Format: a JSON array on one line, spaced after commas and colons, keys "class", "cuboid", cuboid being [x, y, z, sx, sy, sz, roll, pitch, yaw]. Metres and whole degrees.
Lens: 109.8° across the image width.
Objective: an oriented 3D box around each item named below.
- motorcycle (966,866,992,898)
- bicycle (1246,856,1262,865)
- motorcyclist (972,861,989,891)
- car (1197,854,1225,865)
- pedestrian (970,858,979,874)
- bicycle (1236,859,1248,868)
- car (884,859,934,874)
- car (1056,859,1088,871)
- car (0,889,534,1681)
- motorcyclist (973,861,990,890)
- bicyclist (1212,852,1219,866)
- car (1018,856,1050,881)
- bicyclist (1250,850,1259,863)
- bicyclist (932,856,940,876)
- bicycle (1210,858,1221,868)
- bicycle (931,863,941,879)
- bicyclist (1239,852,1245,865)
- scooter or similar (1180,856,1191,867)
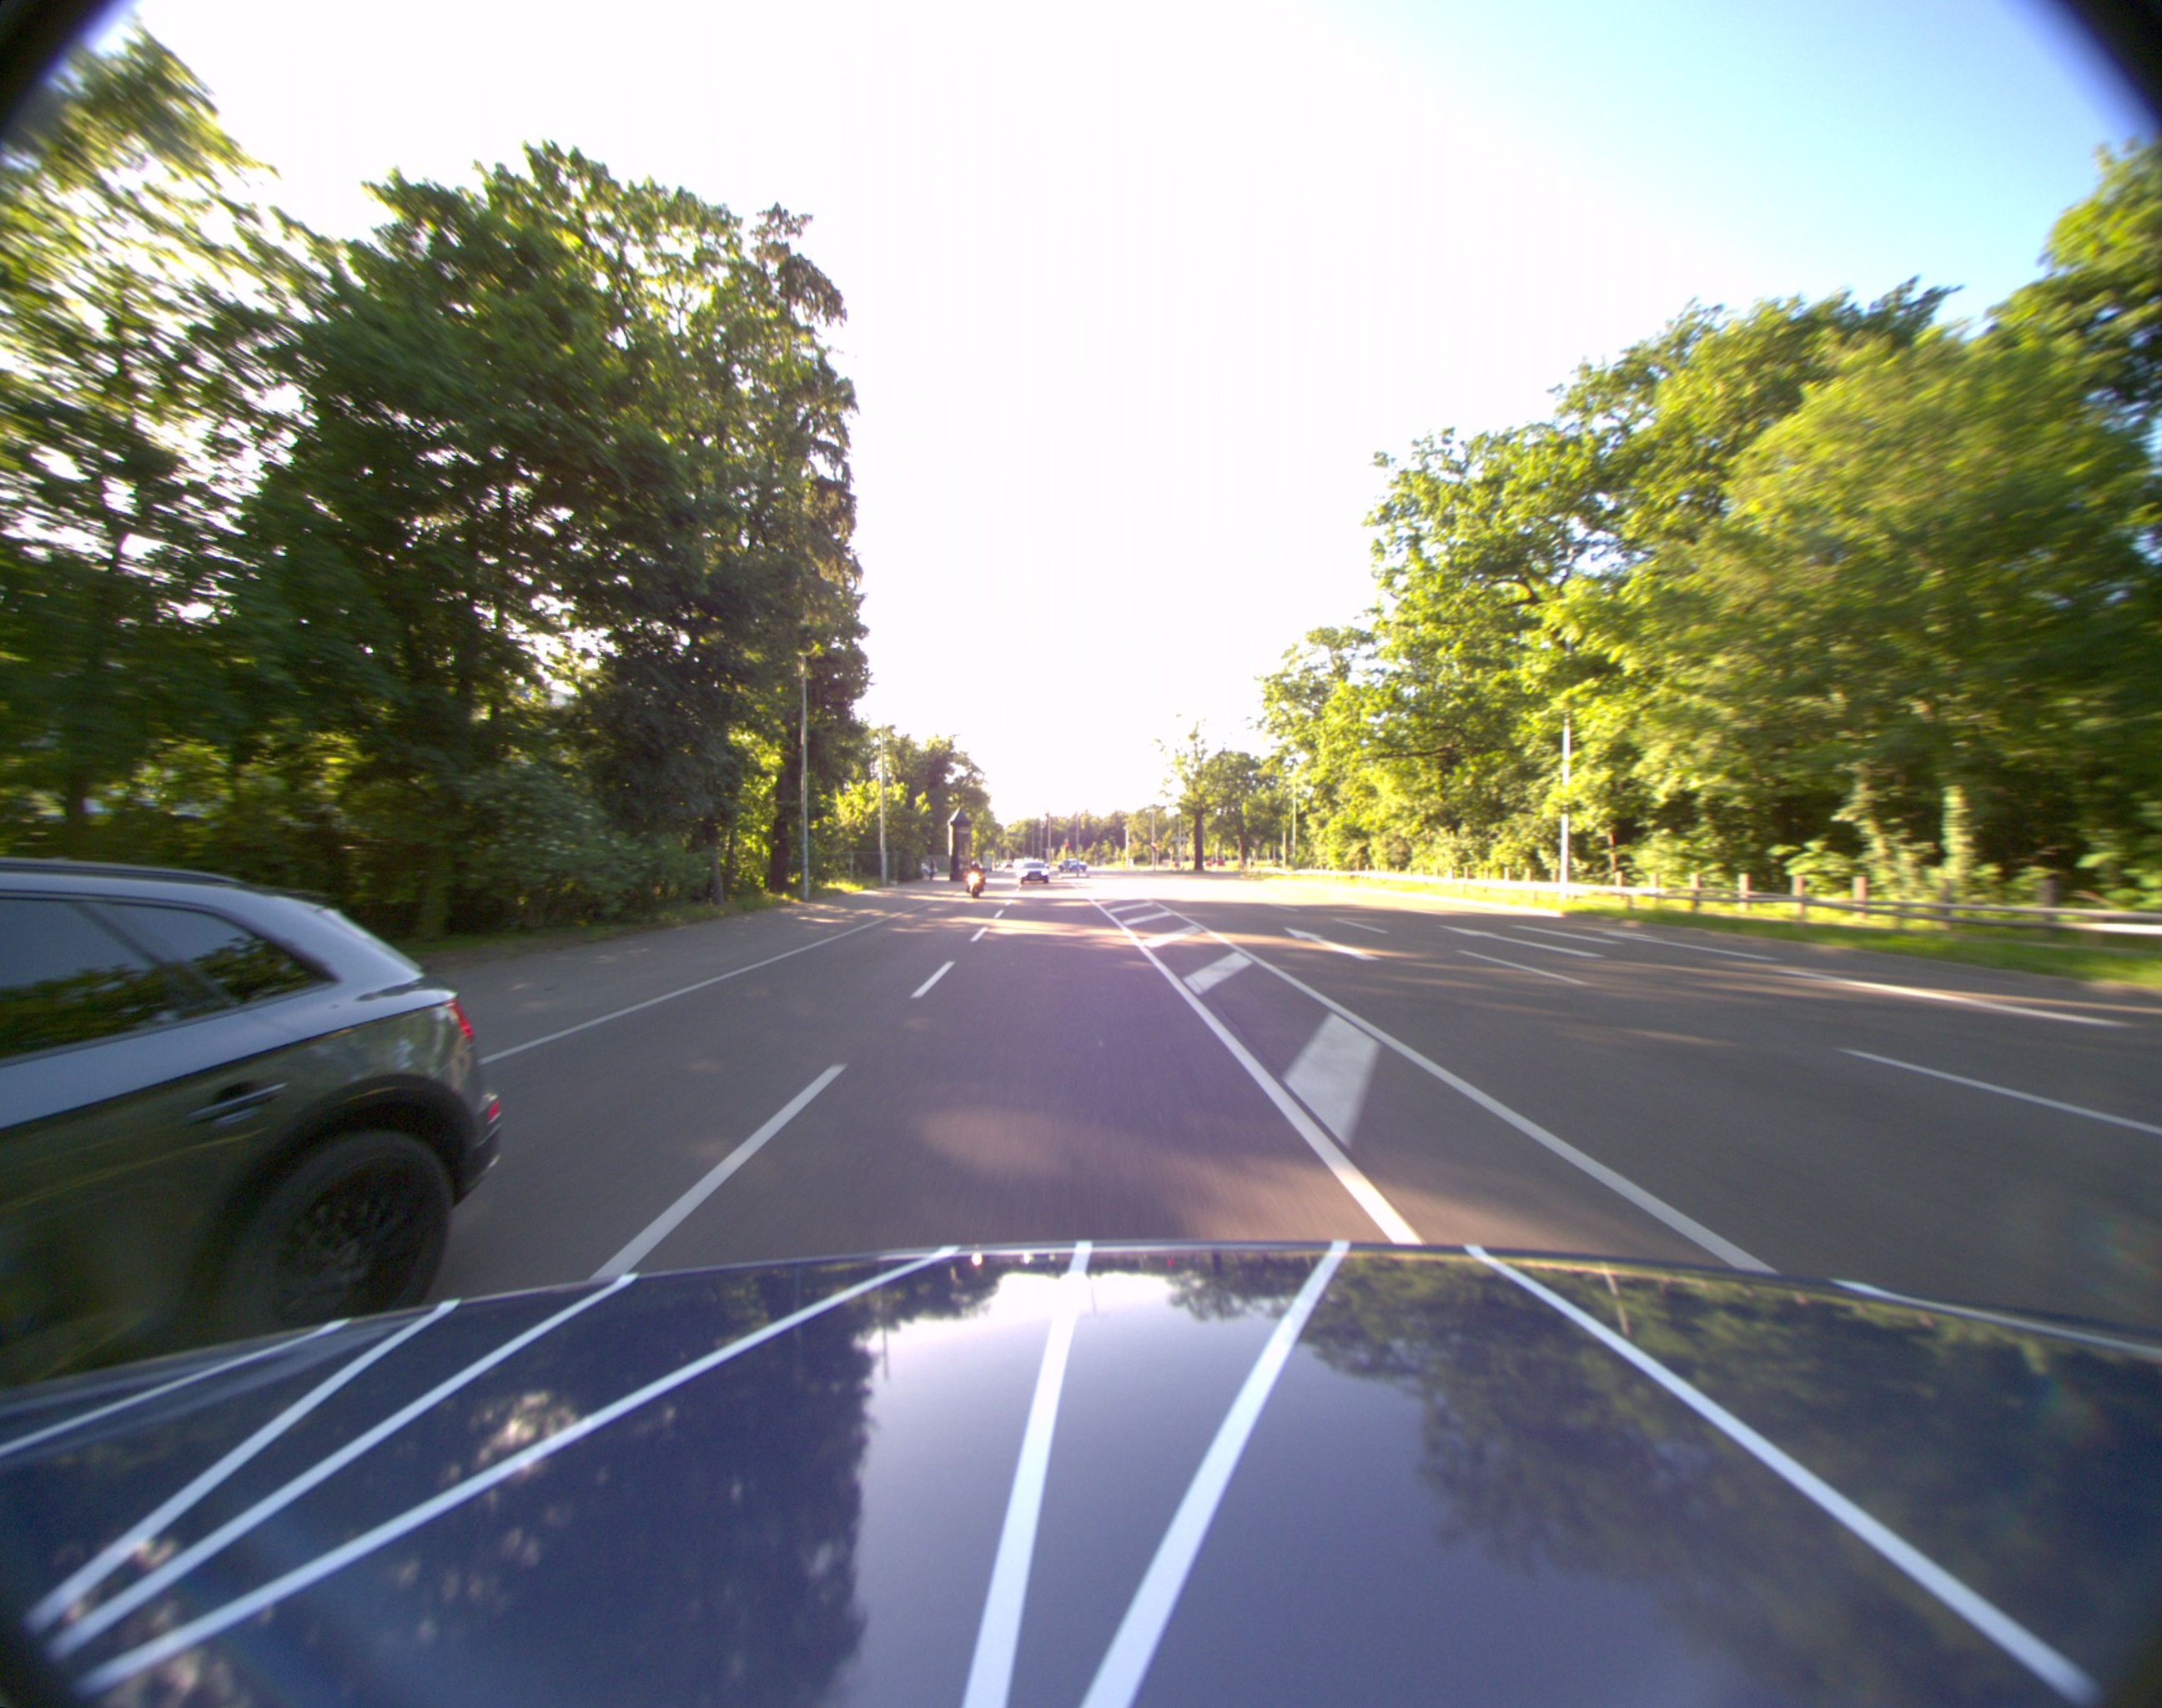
[{"class": "motorcycle", "cuboid": [-4.394, 1.188, 32.838, 0.916, 1.243, 2.961, -3, 0, -5]}, {"class": "bicycle", "cuboid": [19.674, 0.761, 86.449, 1.586, 0.971, 0.786, -1, 1, 40]}, {"class": "motorcyclist", "cuboid": [-4.327, 0.953, 32.723, 0.671, 1.256, 0.825, -2, 1, -5]}, {"class": "car", "cuboid": [19.938, 0.867, 116.242, 3.992, 1.501, 1.658, -2, 0, 16]}, {"class": "pedestrian", "cuboid": [-11.075, 1.229, 78.924, 0.627, 1.678, 0.883, -2, 1, 5]}, {"class": "bicycle", "cuboid": [17.849, 1.016, 84.220, 1.353, 0.971, 0.523, -2, 1, 11]}, {"class": "car", "cuboid": [-16.579, 1.172, 73.264, 4.382, 1.370, 1.820, 1, 1, 4]}, {"class": "car", "cuboid": [-1.238, 1.457, 99.809, 1.843, 1.504, 4.288, -2, 0, -42]}, {"class": "car", "cuboid": [-3.239, 0.972, 0.881, 1.898, 1.596, 4.544, -2, 0, -1]}, {"class": "motorcyclist", "cuboid": [-4.413, 0.953, 33.603, 0.671, 1.256, 0.825, -2, 1, -5]}, {"class": "bicyclist", "cuboid": [15.675, 0.584, 88.431, 0.564, 1.542, 0.800, -1, -2, -5]}, {"class": "car", "cuboid": [-3.171, 0.930, 50.424, 1.868, 1.538, 4.793, -1, 0, -6]}, {"class": "bicyclist", "cuboid": [19.730, 0.292, 86.377, 0.798, 1.474, 0.731, -1, 1, 41]}, {"class": "bicyclist", "cuboid": [-10.714, 0.860, 56.087, 0.522, 1.460, 0.860, 0, 1, -5]}, {"class": "bicycle", "cuboid": [15.693, 1.017, 88.682, 0.682, 1.147, 1.984, -1, -2, -5]}, {"class": "bicycle", "cuboid": [-10.718, 1.236, 56.134, 0.556, 1.130, 1.863, -1, 0, -5]}, {"class": "bicyclist", "cuboid": [17.845, 0.468, 84.200, 0.528, 1.392, 0.519, -2, 1, 10]}, {"class": "scooter or similar", "cuboid": [11.108, 0.834, 80.680, 1.069, 1.140, 0.394, 0, 0, 3]}]
